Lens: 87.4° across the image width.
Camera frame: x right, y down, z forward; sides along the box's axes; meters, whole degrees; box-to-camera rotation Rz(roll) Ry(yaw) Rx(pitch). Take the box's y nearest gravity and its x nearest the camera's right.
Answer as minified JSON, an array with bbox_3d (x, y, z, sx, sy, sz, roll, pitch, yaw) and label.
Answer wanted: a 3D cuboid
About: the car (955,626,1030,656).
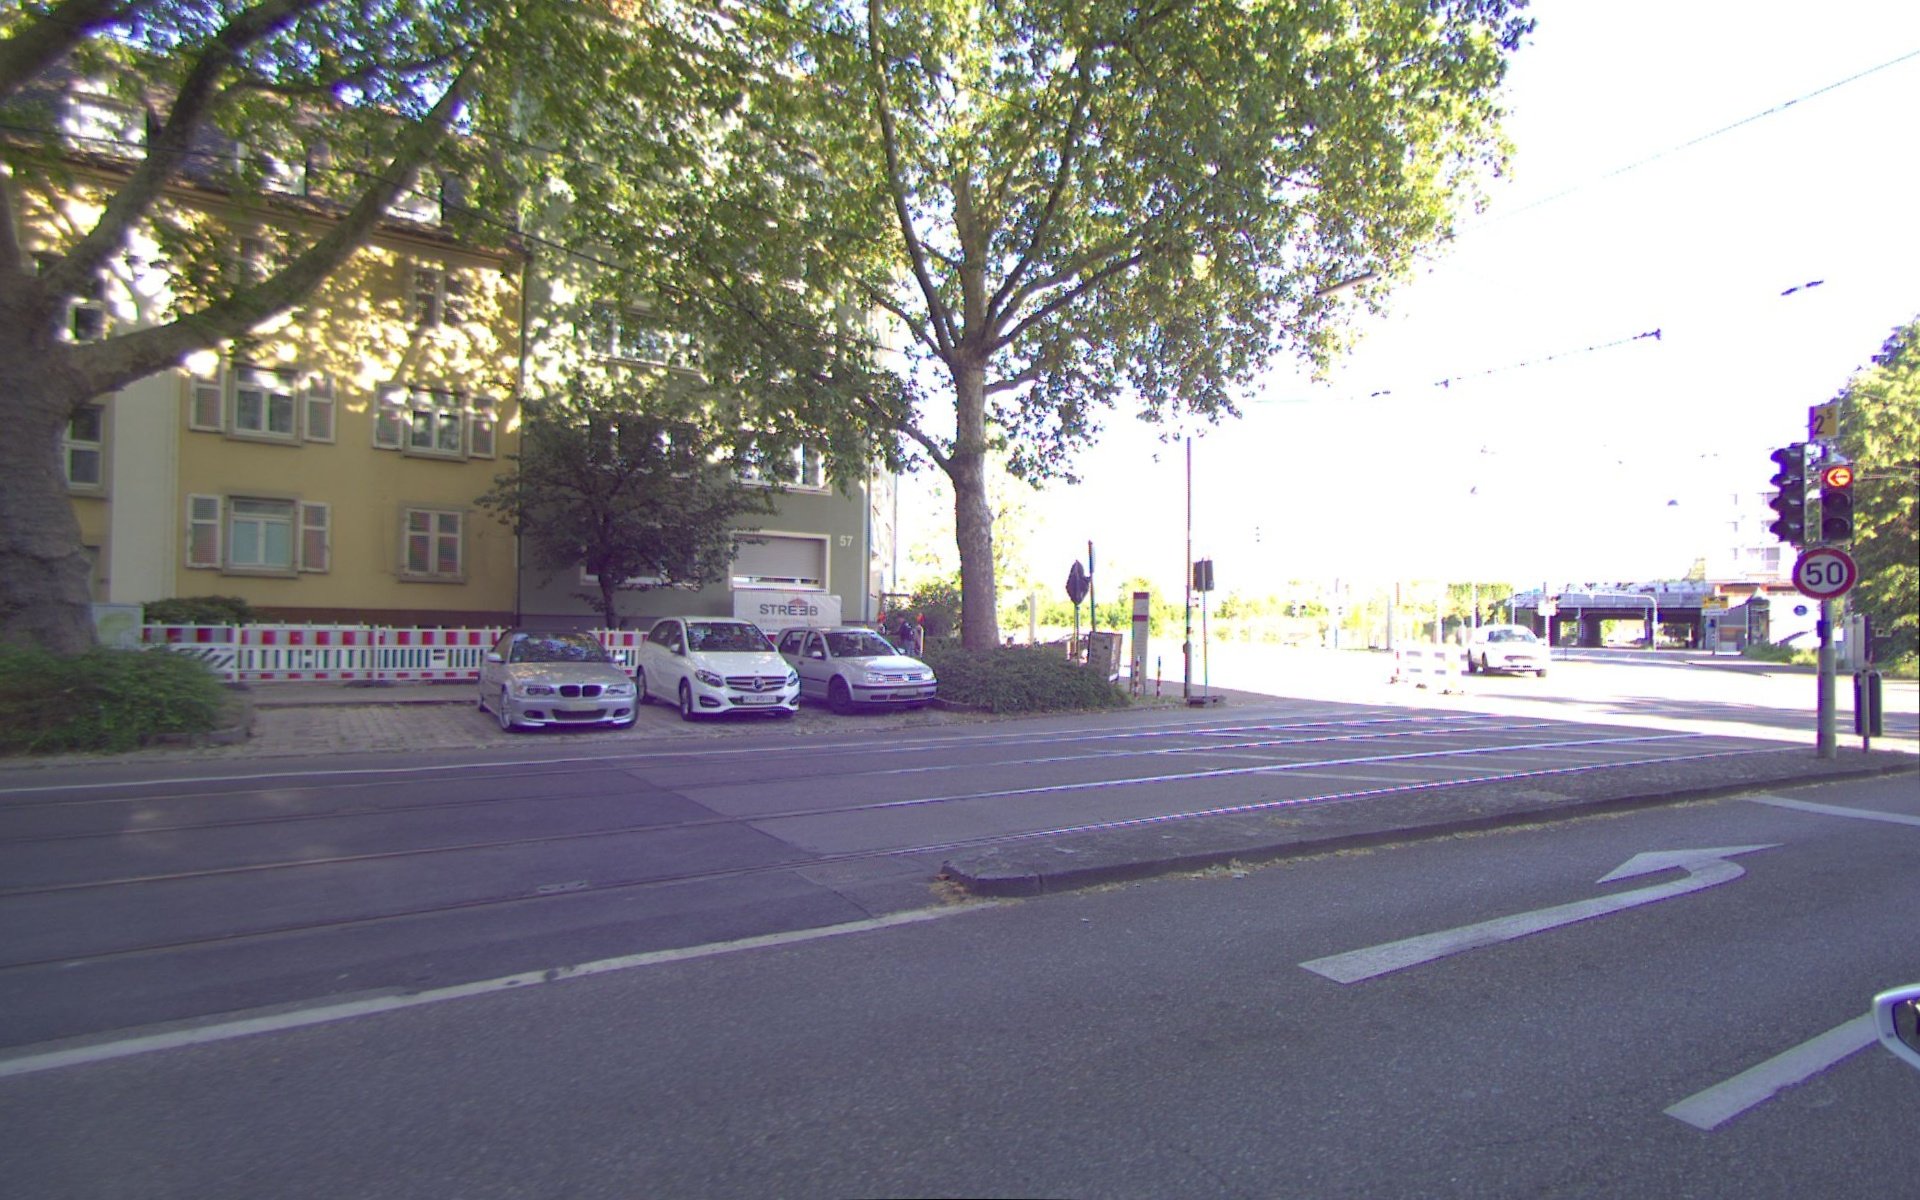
[{"bbox_3d":[1.888,2.343,58.670,3.932,1.439,1.888,1,5,34],"label":"car"}]

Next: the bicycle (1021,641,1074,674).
[{"bbox_3d":[2.505,1.643,28.989,0.356,0.900,1.758,2,-2,-42],"label":"bicycle"}]

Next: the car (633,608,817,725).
[{"bbox_3d":[-4.020,1.013,16.703,1.823,1.633,4.050,3,-1,-30],"label":"car"}]

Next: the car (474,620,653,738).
[{"bbox_3d":[-5.964,1.071,14.827,1.823,1.386,4.050,3,-1,-30],"label":"car"}]

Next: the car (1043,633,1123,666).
[{"bbox_3d":[6.755,2.677,55.133,3.932,1.439,1.888,1,5,34],"label":"car"}]

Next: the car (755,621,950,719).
[{"bbox_3d":[-2.045,1.189,18.119,1.688,1.436,3.958,3,-1,-36],"label":"car"}]

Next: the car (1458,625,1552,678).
[{"bbox_3d":[18.595,1.703,34.468,1.960,1.653,4.632,1,-2,17],"label":"car"}]

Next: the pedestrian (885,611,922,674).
[{"bbox_3d":[-1.452,1.080,25.852,0.592,1.589,0.741,0,-1,32],"label":"pedestrian"}]

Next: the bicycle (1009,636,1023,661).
[{"bbox_3d":[1.778,1.537,32.101,0.351,0.769,1.781,1,-1,0],"label":"bicycle"}]

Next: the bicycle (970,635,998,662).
[{"bbox_3d":[0.731,1.427,29.972,0.351,0.769,1.781,1,-1,17],"label":"bicycle"}]

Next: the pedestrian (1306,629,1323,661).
[{"bbox_3d":[18.031,2.279,51.072,0.591,1.617,0.683,2,-1,34],"label":"pedestrian"}]
